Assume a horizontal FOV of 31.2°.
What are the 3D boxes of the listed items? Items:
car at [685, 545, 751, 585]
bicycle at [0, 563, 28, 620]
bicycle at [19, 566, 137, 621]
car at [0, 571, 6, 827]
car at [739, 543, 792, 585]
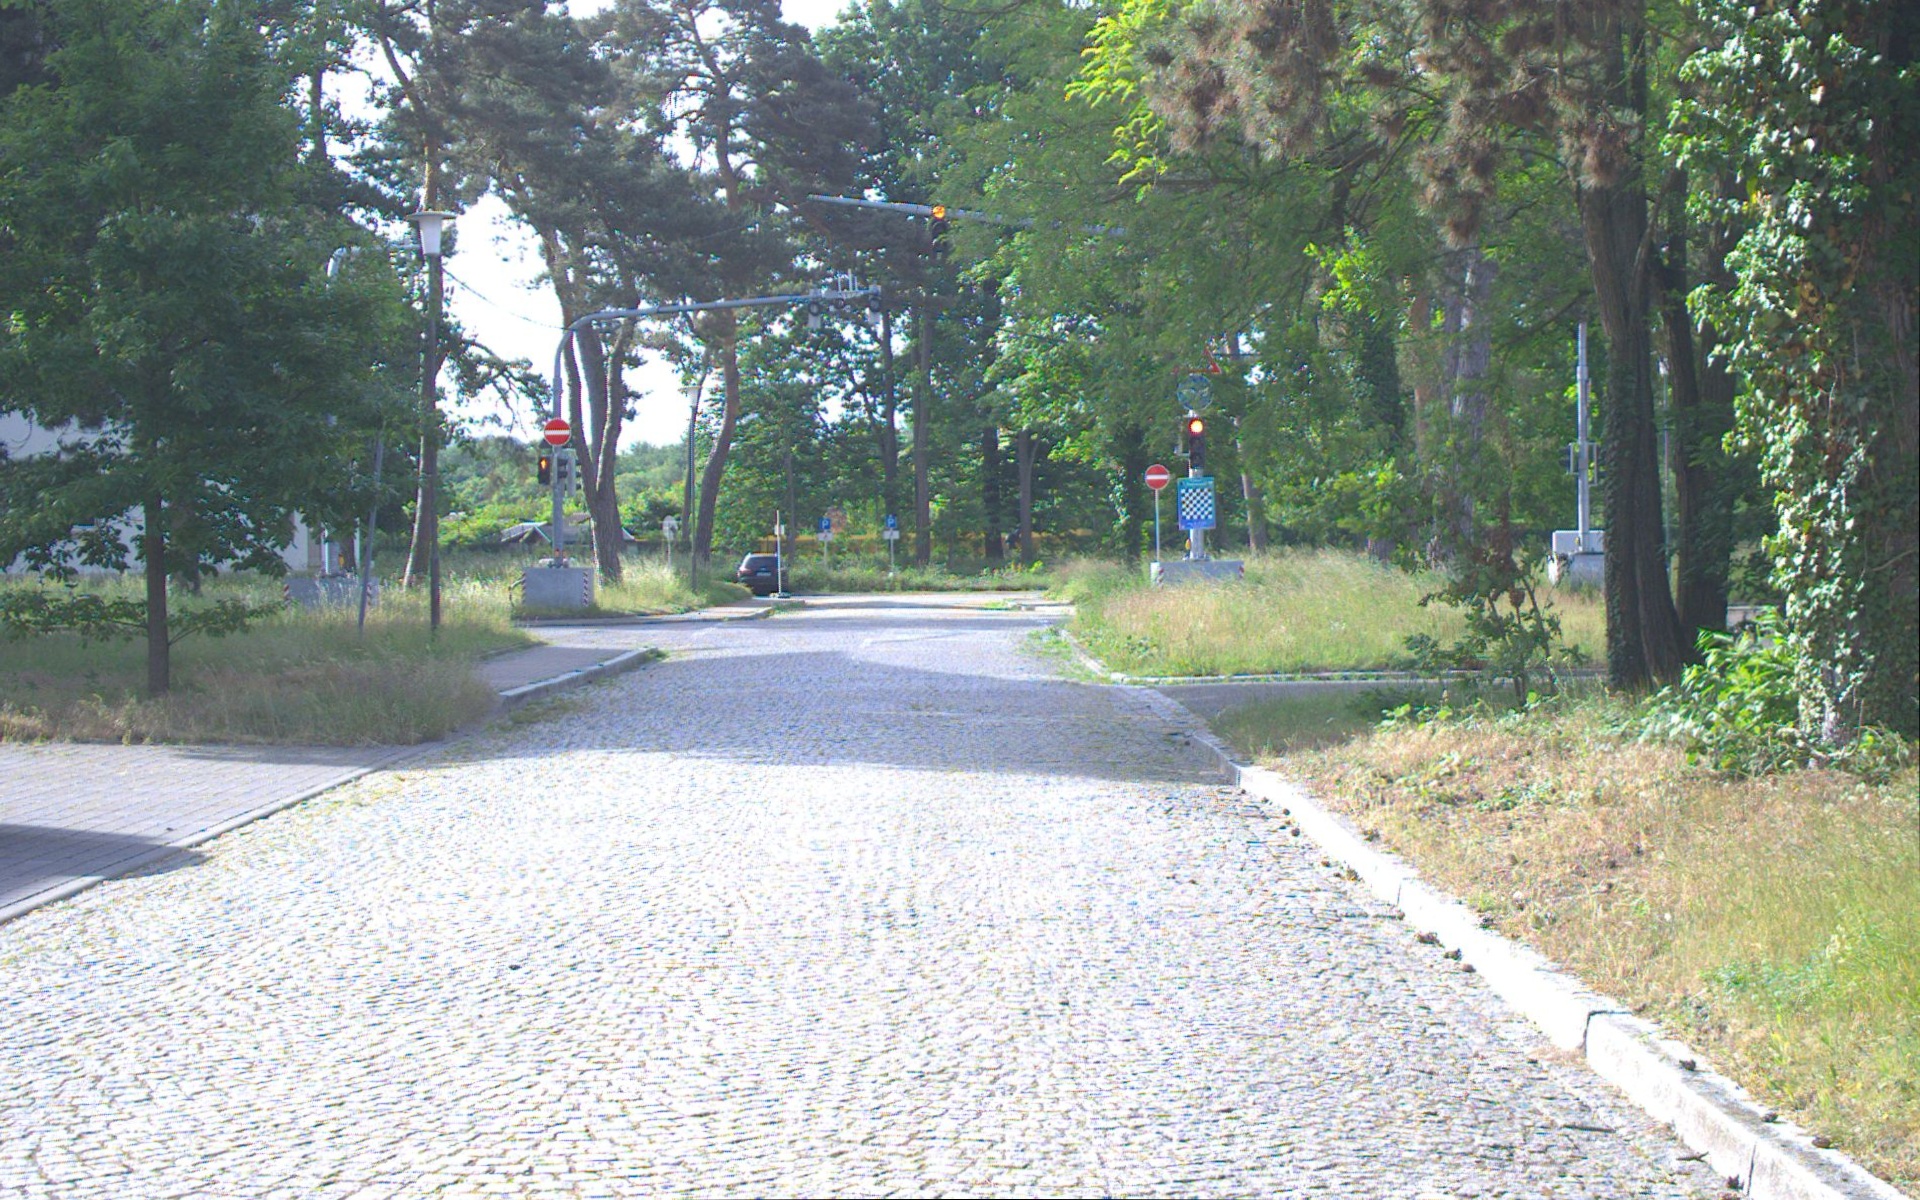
[{"bbox_3d":[-9.108,-1.332,129.737,1.783,1.485,3.754,-1,1,7],"label":"car"},{"bbox_3d":[-19.449,-0.153,67.434,2.117,1.104,0.829,-1,1,-3],"label":"bicycle"},{"bbox_3d":[-17.322,-0.130,67.530,2.117,1.043,0.829,-1,1,-3],"label":"bicycle"},{"bbox_3d":[-7.388,0.536,18.803,3.836,1.459,1.720,1,1,1],"label":"car"},{"bbox_3d":[-7.063,-1.320,124.965,1.845,1.481,4.001,-1,1,-3],"label":"car"}]
